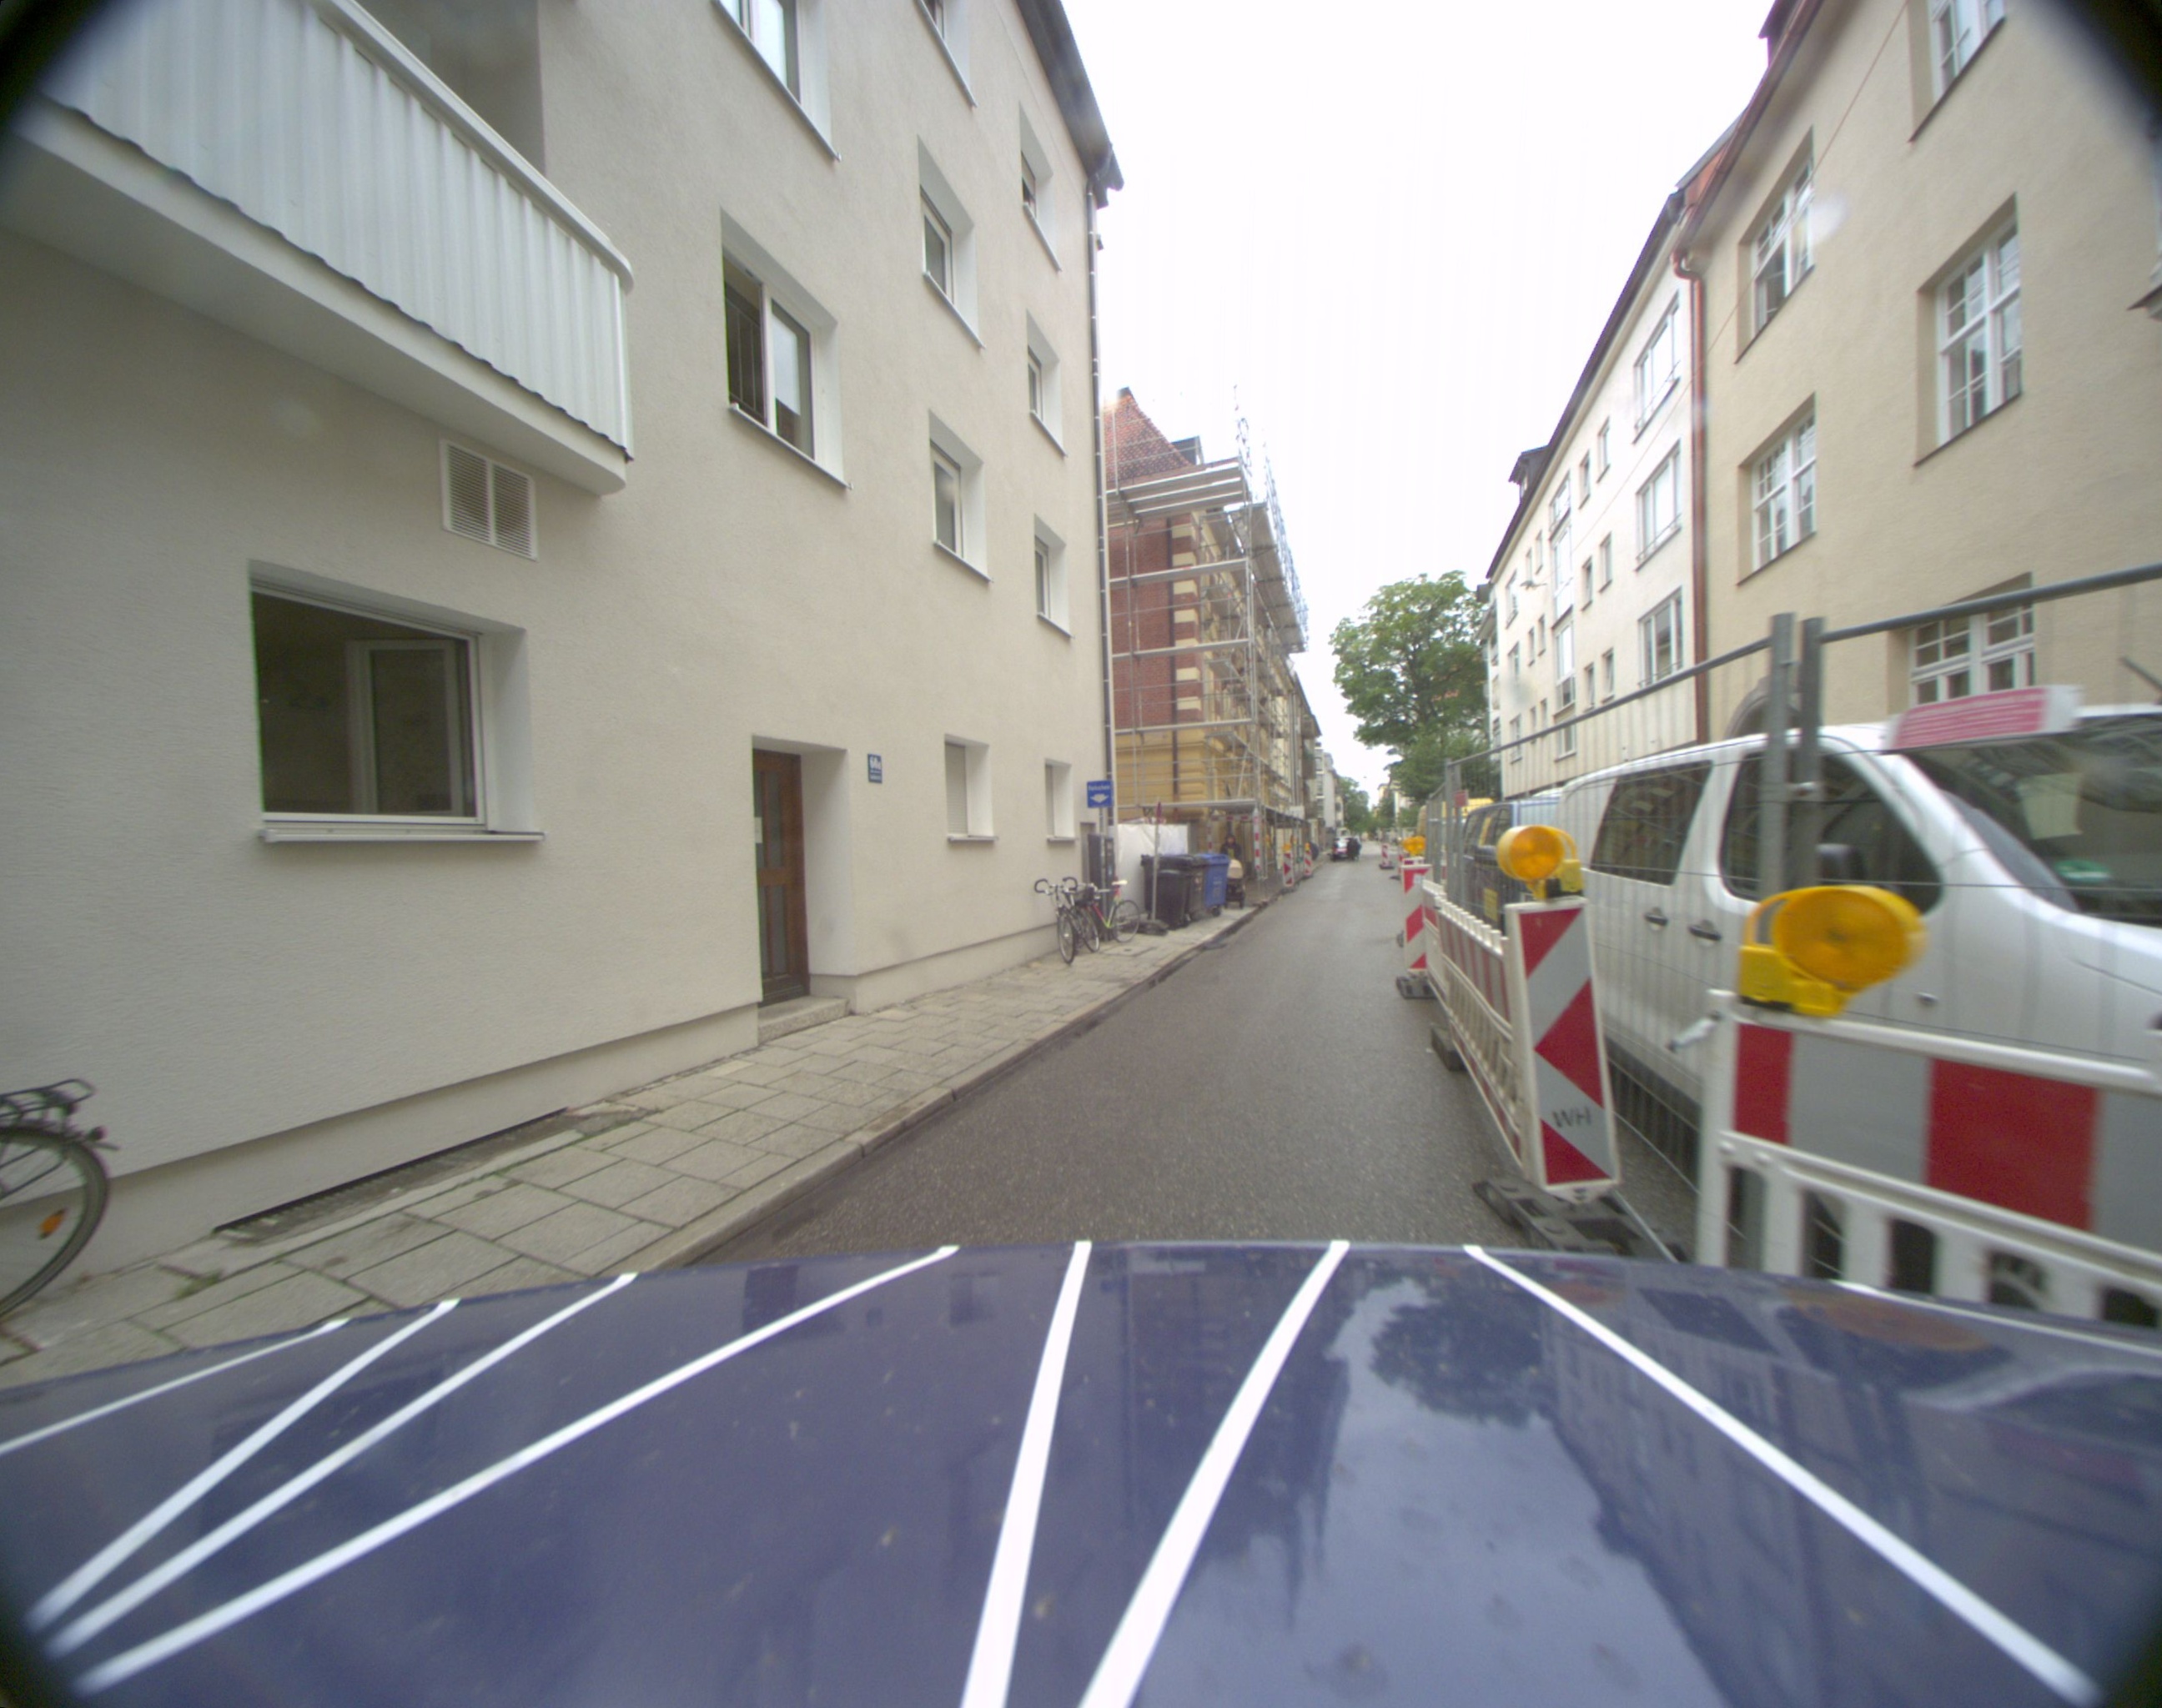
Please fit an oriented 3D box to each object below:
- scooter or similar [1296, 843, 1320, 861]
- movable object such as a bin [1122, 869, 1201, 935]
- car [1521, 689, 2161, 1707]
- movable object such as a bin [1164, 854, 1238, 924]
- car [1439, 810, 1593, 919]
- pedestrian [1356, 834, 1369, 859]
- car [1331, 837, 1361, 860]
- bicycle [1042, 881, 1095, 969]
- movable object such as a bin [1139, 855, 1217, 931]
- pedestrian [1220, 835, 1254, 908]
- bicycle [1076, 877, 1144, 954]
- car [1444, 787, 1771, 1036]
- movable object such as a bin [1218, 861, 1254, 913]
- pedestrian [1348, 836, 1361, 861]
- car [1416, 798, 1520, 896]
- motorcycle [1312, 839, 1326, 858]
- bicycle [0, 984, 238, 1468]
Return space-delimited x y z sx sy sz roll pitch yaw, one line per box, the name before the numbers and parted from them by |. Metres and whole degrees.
scooter or similar | 14.594 -0.130 48.788 1.610 1.177 0.494 -1 3 -29
movable object such as a bin | 1.492 0.859 14.059 1.211 1.089 0.791 2 3 28
car | 3.361 0.565 2.786 1.907 1.886 5.094 -2 1 17
movable object such as a bin | 2.537 0.700 15.974 1.086 1.339 1.320 2 3 33
car | 8.711 0.109 15.684 1.919 1.887 4.796 0 2 19
pedestrian | 20.053 -0.545 54.072 0.659 1.676 0.547 -5 0 26
car | 19.810 -0.426 56.697 1.774 1.515 4.072 -4 0 23
bicycle | -0.144 0.904 10.045 0.404 0.986 1.330 1 2 12
movable object such as a bin | 1.911 0.726 14.913 1.126 1.338 1.173 2 3 28
pedestrian | 3.890 0.417 18.913 0.730 1.743 0.989 2 3 15
bicycle | 0.455 0.877 11.254 0.281 0.986 1.436 2 3 33
car | 5.348 0.360 8.622 1.729 1.887 5.515 0 2 20
movable object such as a bin | 3.715 0.761 18.148 0.730 1.135 0.989 2 3 15
pedestrian | 18.973 -0.376 52.715 0.659 1.676 0.587 -4 0 26
car | 11.637 -0.257 23.303 1.996 2.564 6.745 -1 1 20
motorcycle | 18.008 -0.431 57.567 0.805 1.415 1.935 4 3 21
bicycle | -3.304 1.036 1.605 0.638 1.146 1.918 1 1 21
